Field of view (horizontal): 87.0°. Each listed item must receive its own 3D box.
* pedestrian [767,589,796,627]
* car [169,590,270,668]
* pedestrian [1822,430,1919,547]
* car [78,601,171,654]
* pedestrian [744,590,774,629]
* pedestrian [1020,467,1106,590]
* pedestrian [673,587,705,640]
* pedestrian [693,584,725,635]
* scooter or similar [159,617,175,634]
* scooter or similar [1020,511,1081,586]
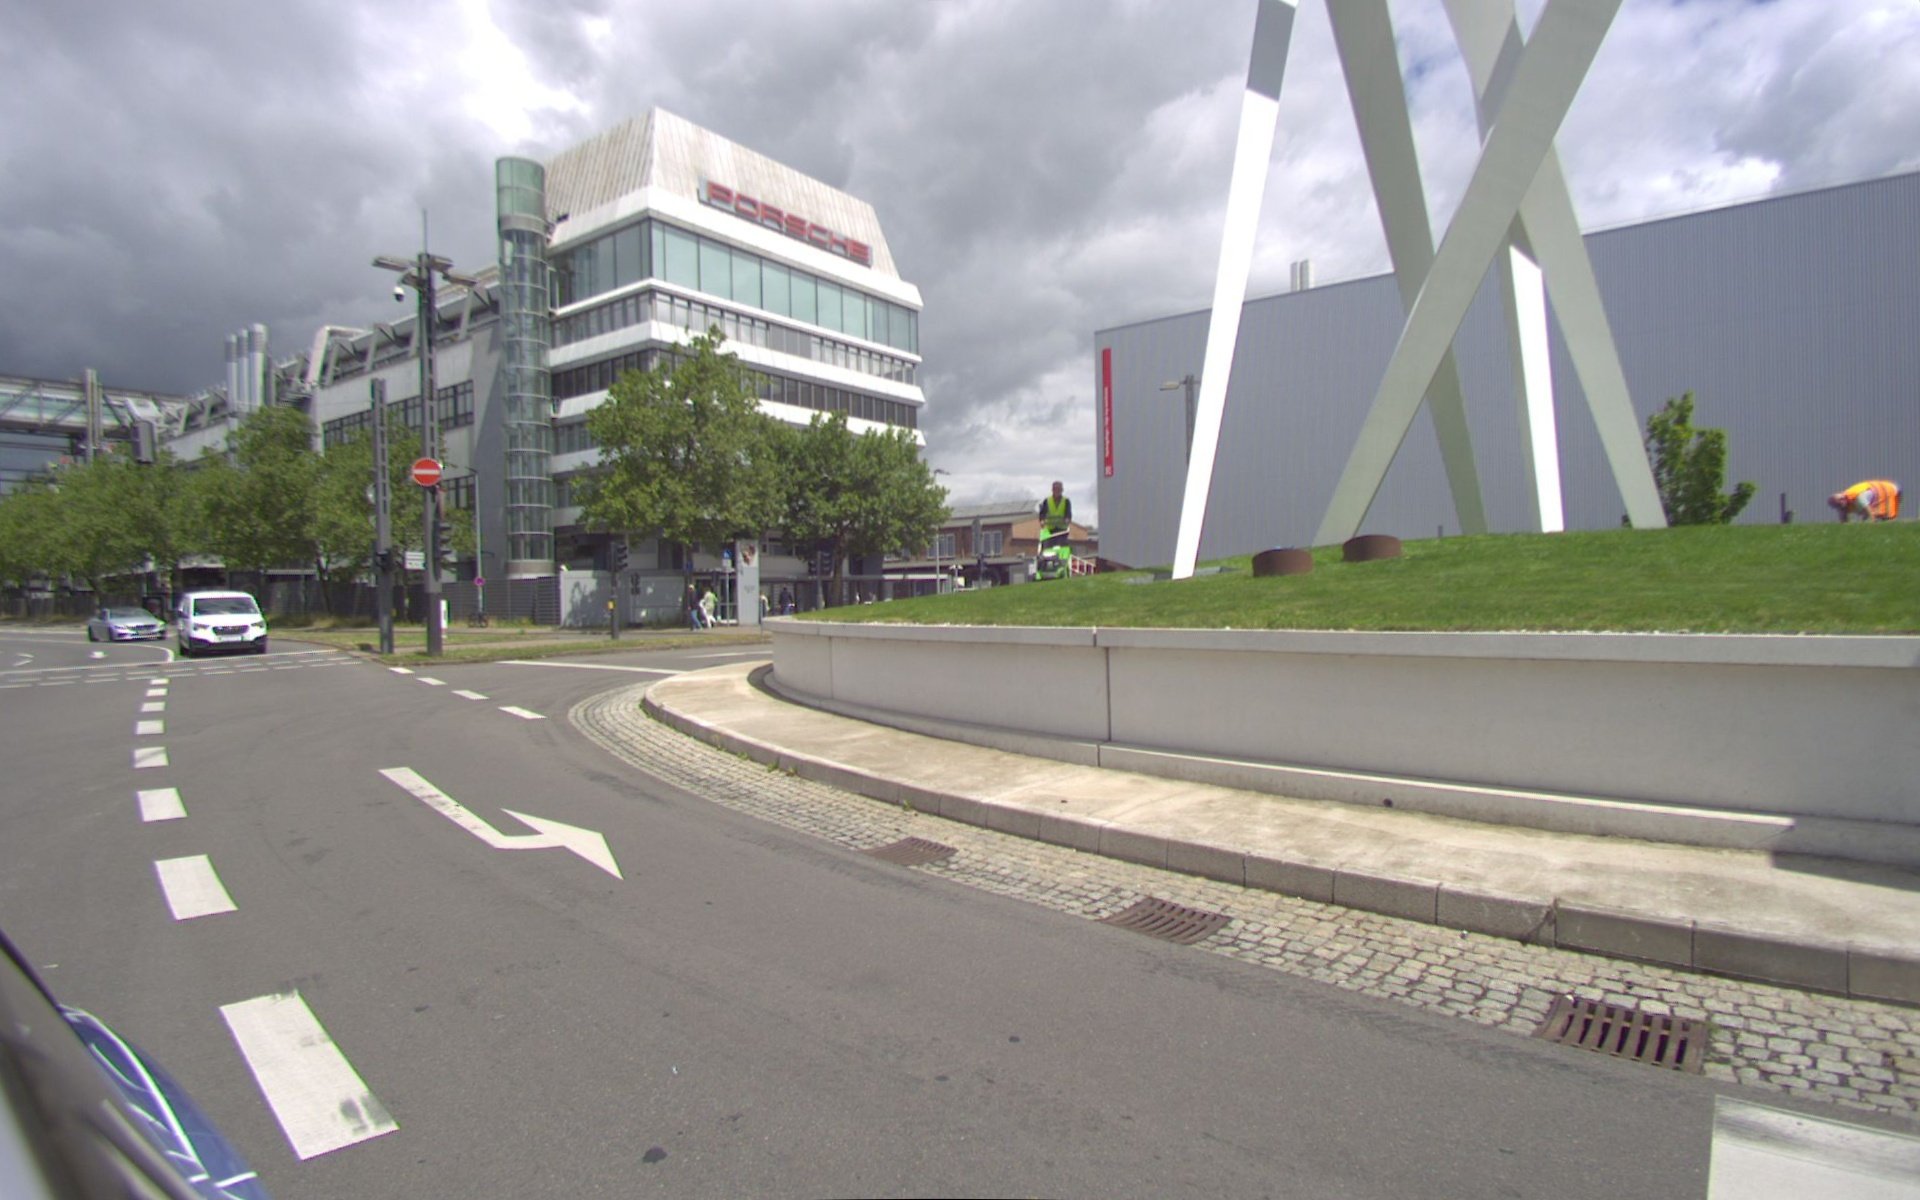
[{"bbox_3d":[-8.495,0.379,48.139,1.028,1.787,0.860,-1,2,22],"label":"pedestrian"},{"bbox_3d":[-21.590,0.787,29.440,1.799,2.028,4.395,-3,2,-43],"label":"car"},{"bbox_3d":[12.590,-1.494,13.849,0.841,1.417,0.968,6,-2,-32],"label":"pedestrian"},{"bbox_3d":[-34.757,1.092,42.062,4.703,1.970,1.850,0,3,37],"label":"car"},{"bbox_3d":[-9.349,0.439,47.166,1.028,1.787,0.860,-1,2,22],"label":"pedestrian"},{"bbox_3d":[1.742,-1.164,16.986,0.979,1.830,1.277,-7,-4,19],"label":"pedestrian"},{"bbox_3d":[-10.894,0.509,40.677,0.940,2.070,0.953,-2,2,-35],"label":"pedestrian"},{"bbox_3d":[-10.395,0.377,41.947,0.940,2.070,0.953,-2,2,-35],"label":"pedestrian"},{"bbox_3d":[-59.278,1.925,75.624,1.315,1.244,0.518,-2,3,36],"label":"scooter or similar"},{"bbox_3d":[1.399,-0.760,15.505,0.545,1.033,1.397,-8,-1,17],"label":"scooter or similar"}]
